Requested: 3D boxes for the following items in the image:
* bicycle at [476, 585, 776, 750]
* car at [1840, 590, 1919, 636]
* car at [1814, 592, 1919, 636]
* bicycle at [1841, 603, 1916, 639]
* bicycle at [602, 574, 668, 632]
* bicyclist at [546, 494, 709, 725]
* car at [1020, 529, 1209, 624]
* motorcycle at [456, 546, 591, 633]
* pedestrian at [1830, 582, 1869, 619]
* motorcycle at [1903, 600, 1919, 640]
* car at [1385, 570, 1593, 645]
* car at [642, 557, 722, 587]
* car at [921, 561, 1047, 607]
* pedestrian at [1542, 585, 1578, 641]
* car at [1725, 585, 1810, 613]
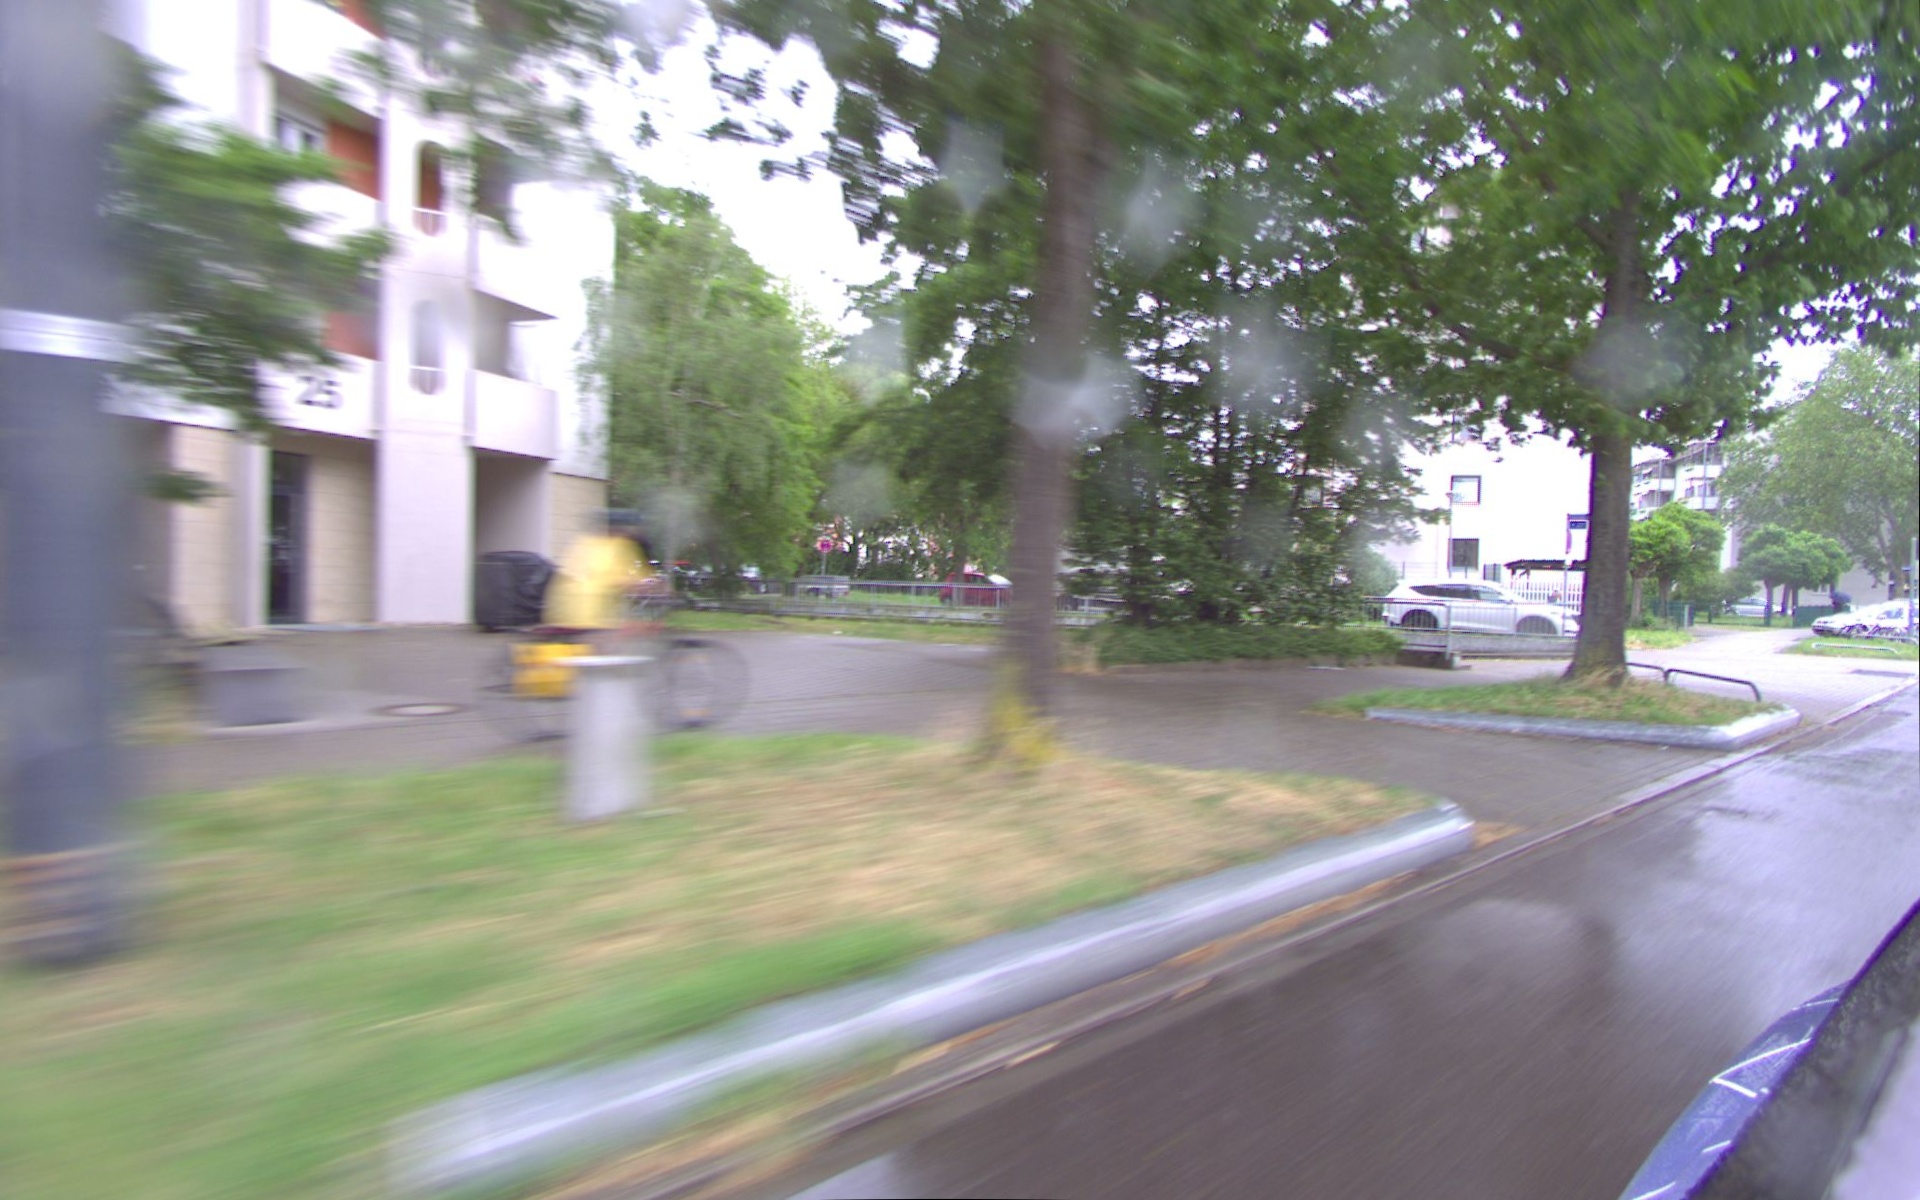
[{"bbox_3d":[-2.478,0.451,7.674,2.015,1.069,0.736,0,2,-41],"label":"bicycle"},{"bbox_3d":[37.507,0.531,39.523,4.289,1.671,1.849,3,2,16],"label":"car"},{"bbox_3d":[34.562,0.553,37.474,4.063,1.440,1.732,3,2,13],"label":"car"},{"bbox_3d":[32.092,0.729,35.372,1.921,1.115,0.629,3,2,3],"label":"bicycle"},{"bbox_3d":[-5.614,0.027,17.527,0.402,0.937,1.460,2,2,12],"label":"bicycle"},{"bbox_3d":[-2.507,0.052,7.633,0.928,1.613,0.736,1,2,-41],"label":"bicyclist"},{"bbox_3d":[5.207,-0.879,34.539,6.036,3.000,2.104,3,2,35],"label":"car"},{"bbox_3d":[-7.149,-0.197,16.739,0.872,1.304,2.295,2,2,12],"label":"motorcycle"},{"bbox_3d":[46.568,0.025,52.989,1.405,1.836,1.104,1,1,-32],"label":"pedestrian"},{"bbox_3d":[34.030,0.743,35.091,1.753,1.353,0.687,3,2,13],"label":"motorcycle"},{"bbox_3d":[14.252,0.142,27.375,4.787,1.767,1.975,3,2,35],"label":"car"},{"bbox_3d":[-14.761,-1.455,53.954,1.982,1.472,3.960,0,0,28],"label":"car"},{"bbox_3d":[0.834,-0.620,37.439,4.393,1.545,1.882,3,2,37],"label":"car"},{"bbox_3d":[17.599,0.365,29.707,0.833,1.590,0.806,2,1,30],"label":"pedestrian"},{"bbox_3d":[55.983,-0.086,70.233,1.838,1.701,4.303,0,3,-40],"label":"car"}]
